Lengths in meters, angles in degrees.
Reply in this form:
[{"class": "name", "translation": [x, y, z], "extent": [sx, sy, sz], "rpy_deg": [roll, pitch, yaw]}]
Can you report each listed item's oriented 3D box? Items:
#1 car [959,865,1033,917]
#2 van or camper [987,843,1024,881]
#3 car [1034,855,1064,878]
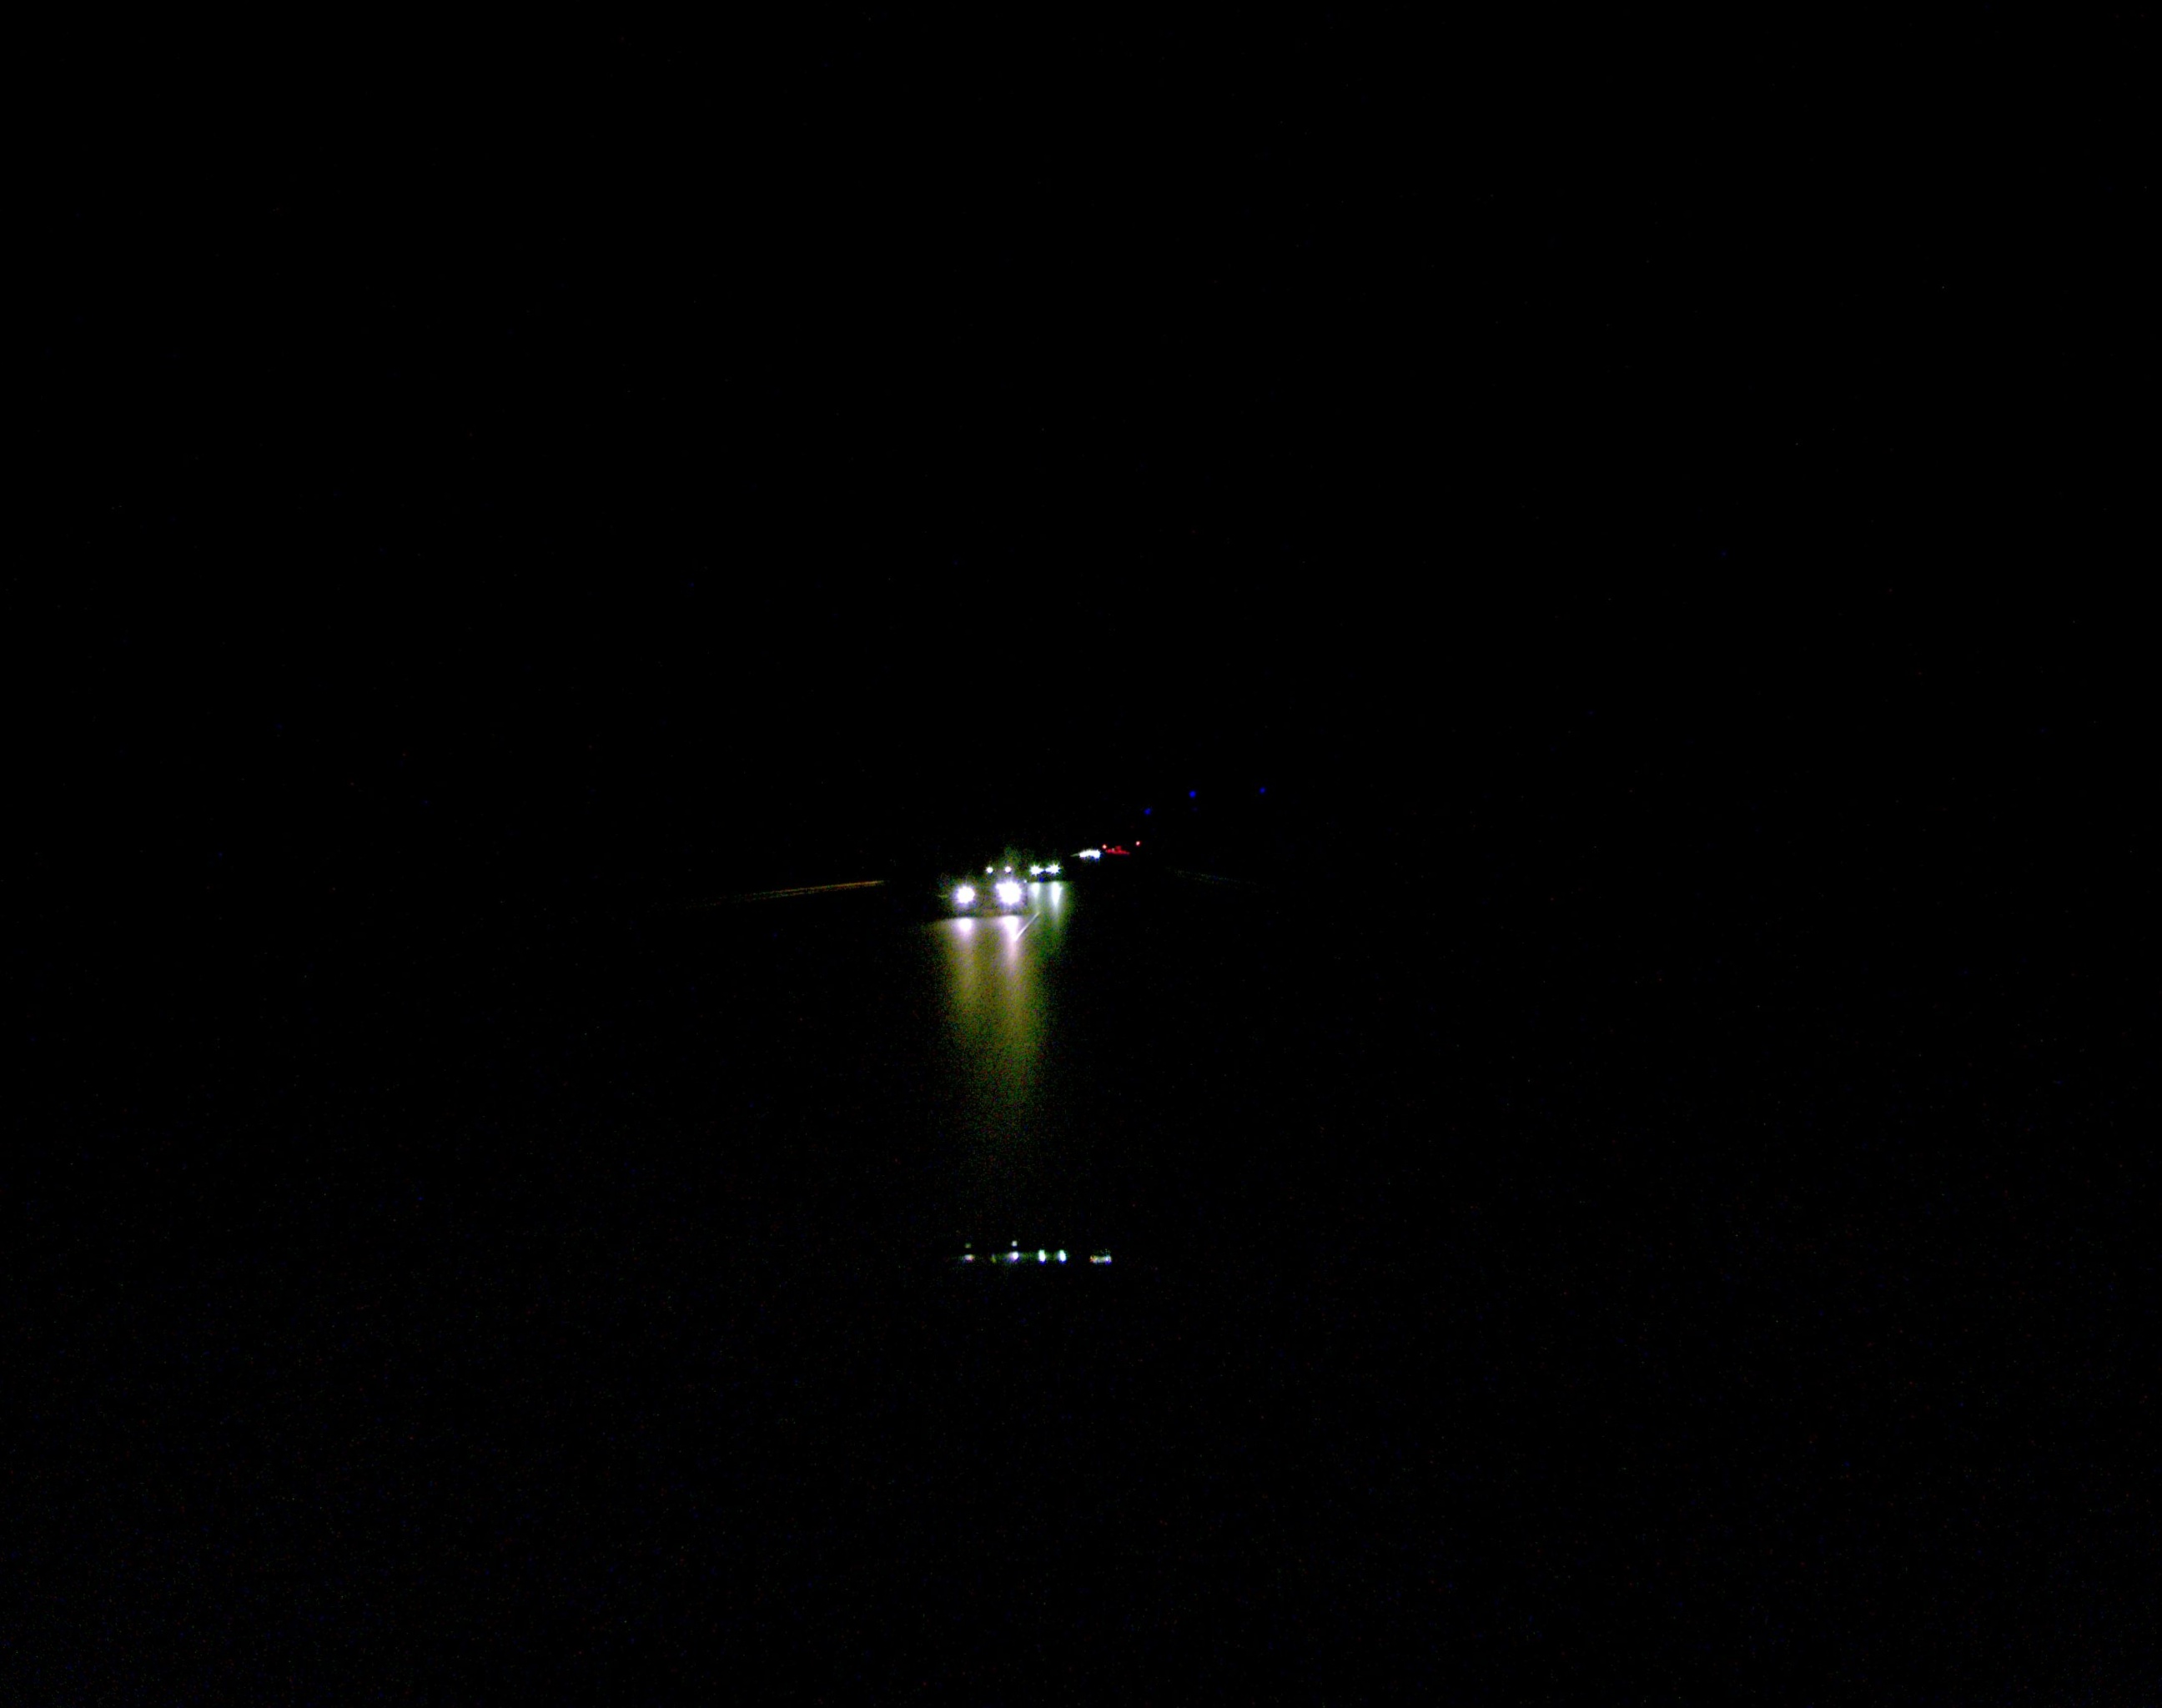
[{"class": "car", "translation": [-2.530, 1.081, 23.525], "extent": [1.690, 1.405, 4.226], "rpy_deg": [-2, -1, 1]}, {"class": "van or camper", "translation": [-6.063, 0.602, 62.088], "extent": [2.213, 2.755, 6.803], "rpy_deg": [-5, 0, -1]}, {"class": "car", "translation": [-2.273, 0.873, 55.025], "extent": [1.795, 1.532, 4.225], "rpy_deg": [-3, 0, 1]}]
